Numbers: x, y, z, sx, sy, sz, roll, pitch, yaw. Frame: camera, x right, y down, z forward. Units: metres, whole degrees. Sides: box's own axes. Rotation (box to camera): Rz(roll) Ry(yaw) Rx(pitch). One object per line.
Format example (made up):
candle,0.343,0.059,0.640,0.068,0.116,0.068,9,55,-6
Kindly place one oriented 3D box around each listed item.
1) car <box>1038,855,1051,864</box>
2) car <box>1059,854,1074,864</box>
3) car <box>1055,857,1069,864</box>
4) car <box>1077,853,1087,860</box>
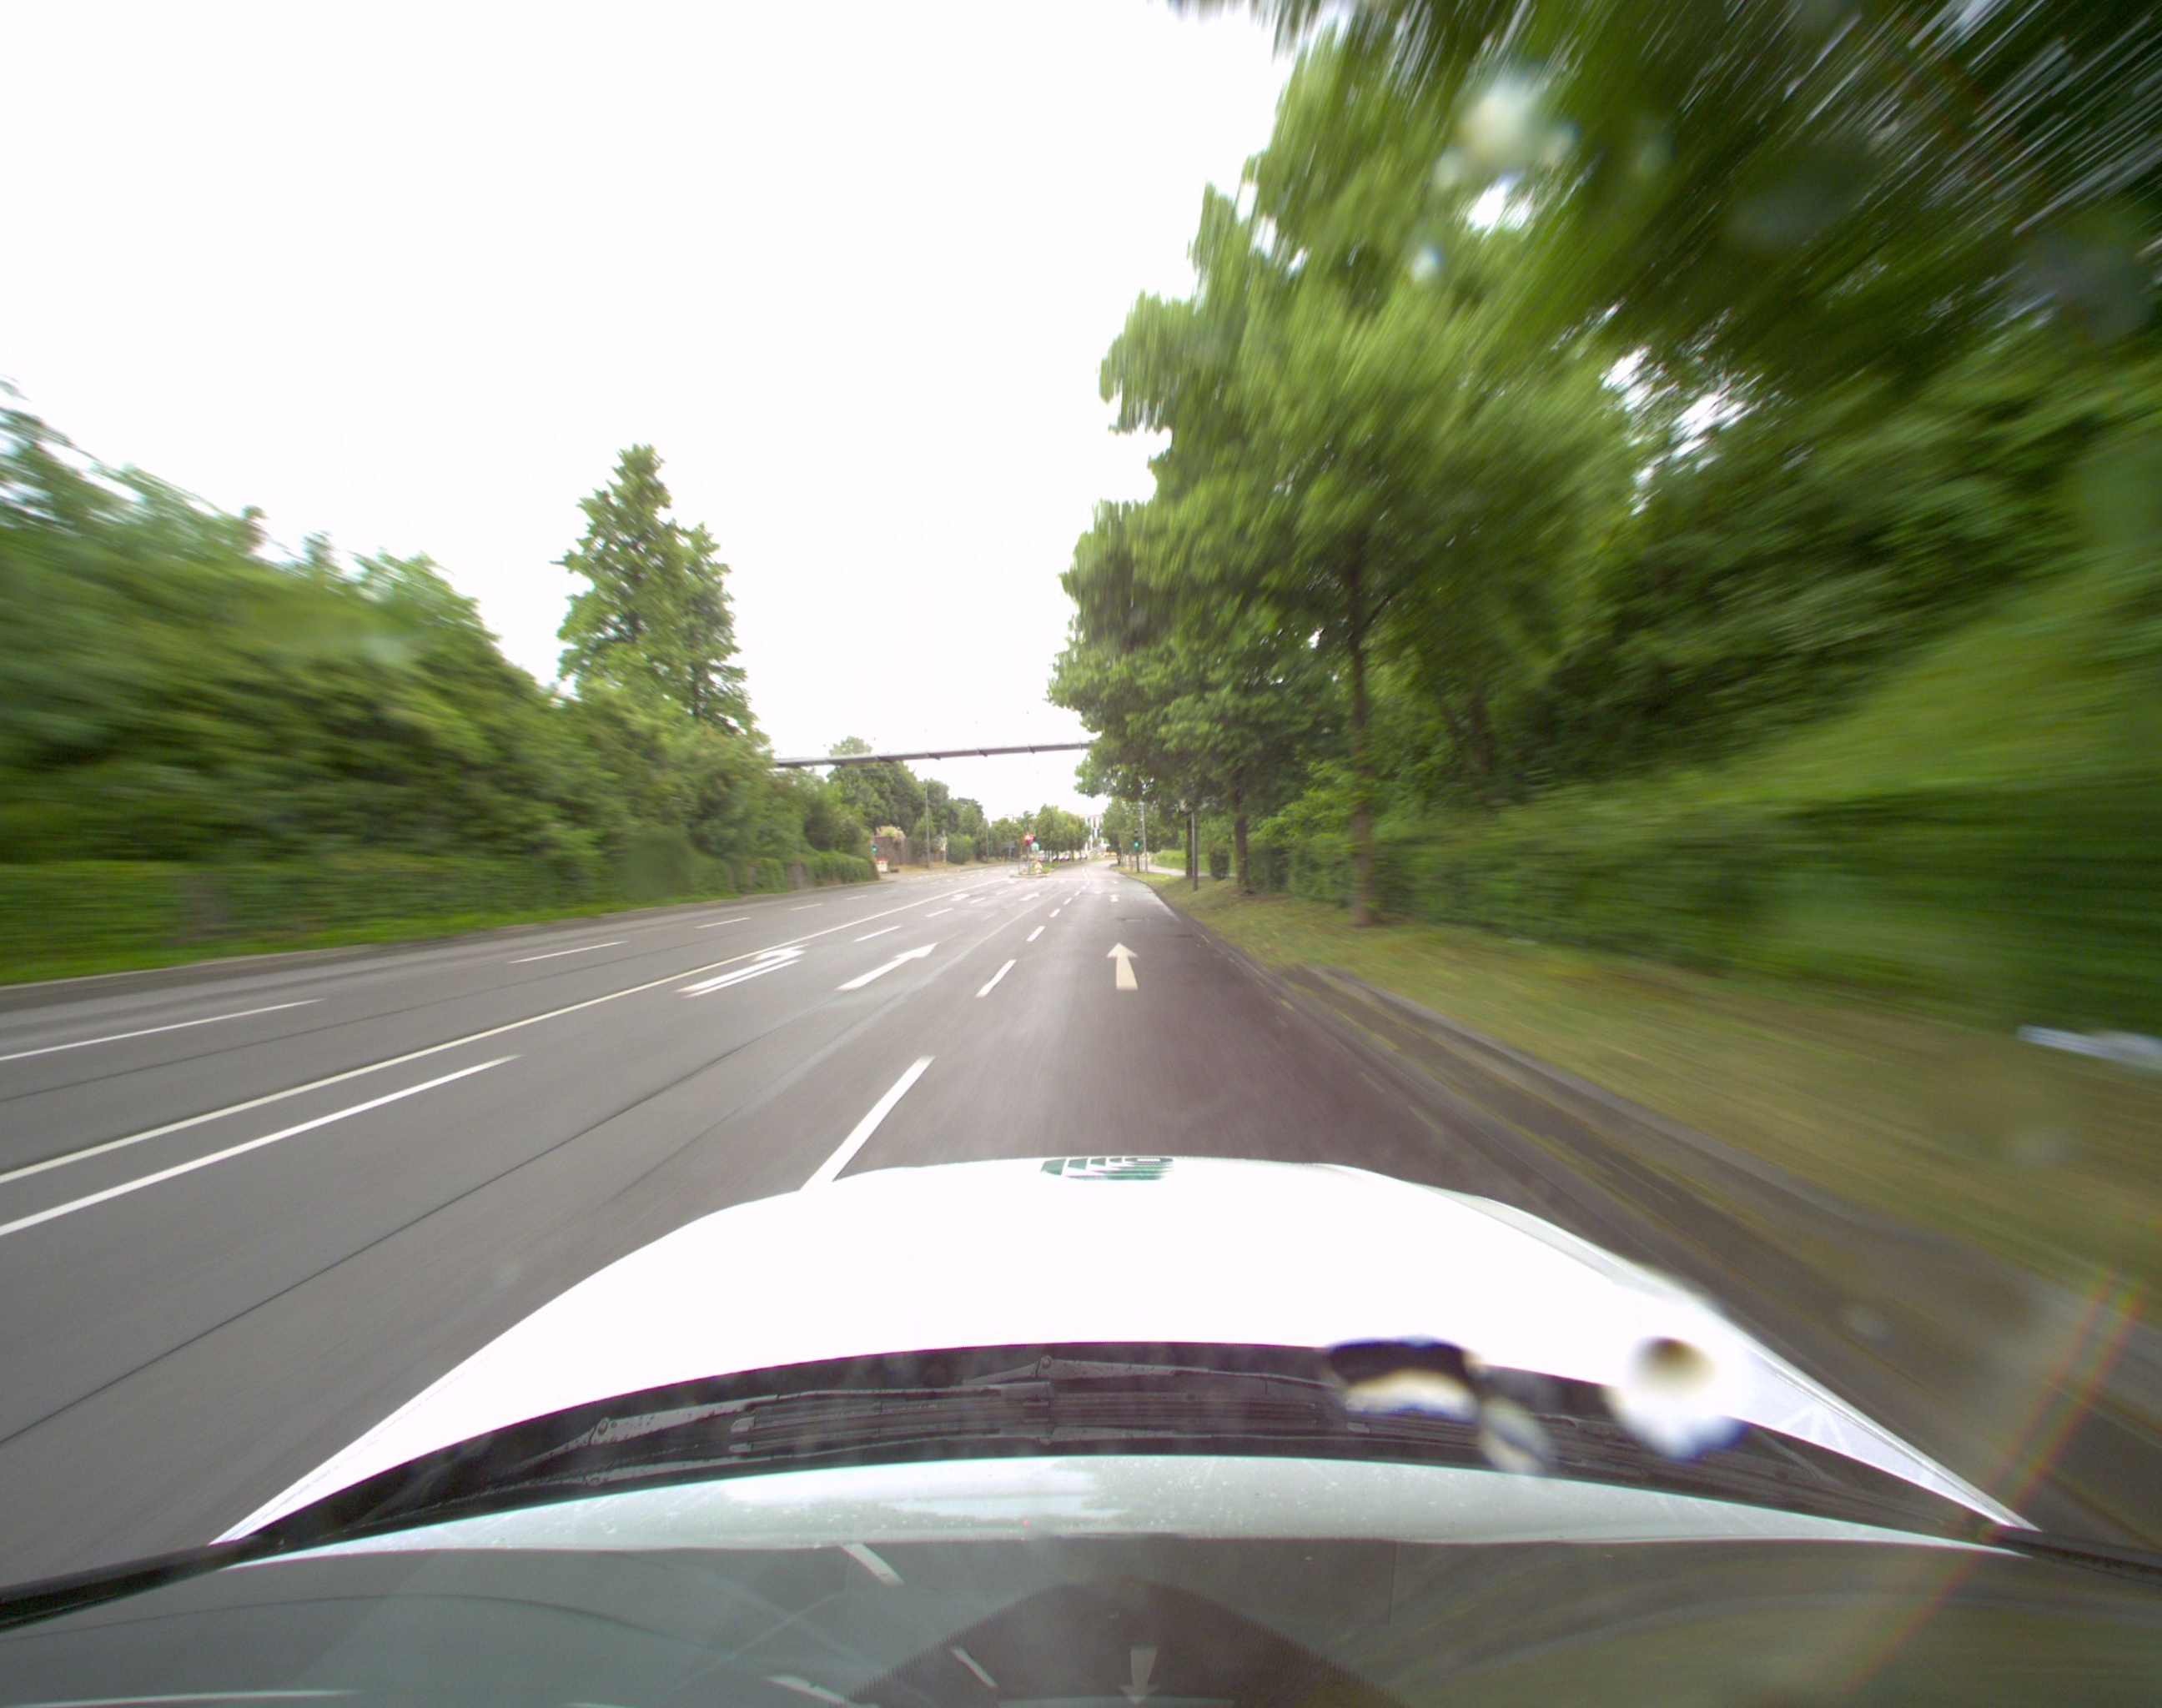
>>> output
car,-6.779,1.011,150.851,1.588,1.489,4.011,-1,0,9
car,-2.724,0.898,156.335,2.002,1.919,5.107,-1,0,8
car,-3.826,1.321,166.620,1.870,1.595,4.779,0,0,9
car,0.281,0.654,187.732,1.676,1.539,2.924,-1,1,10
